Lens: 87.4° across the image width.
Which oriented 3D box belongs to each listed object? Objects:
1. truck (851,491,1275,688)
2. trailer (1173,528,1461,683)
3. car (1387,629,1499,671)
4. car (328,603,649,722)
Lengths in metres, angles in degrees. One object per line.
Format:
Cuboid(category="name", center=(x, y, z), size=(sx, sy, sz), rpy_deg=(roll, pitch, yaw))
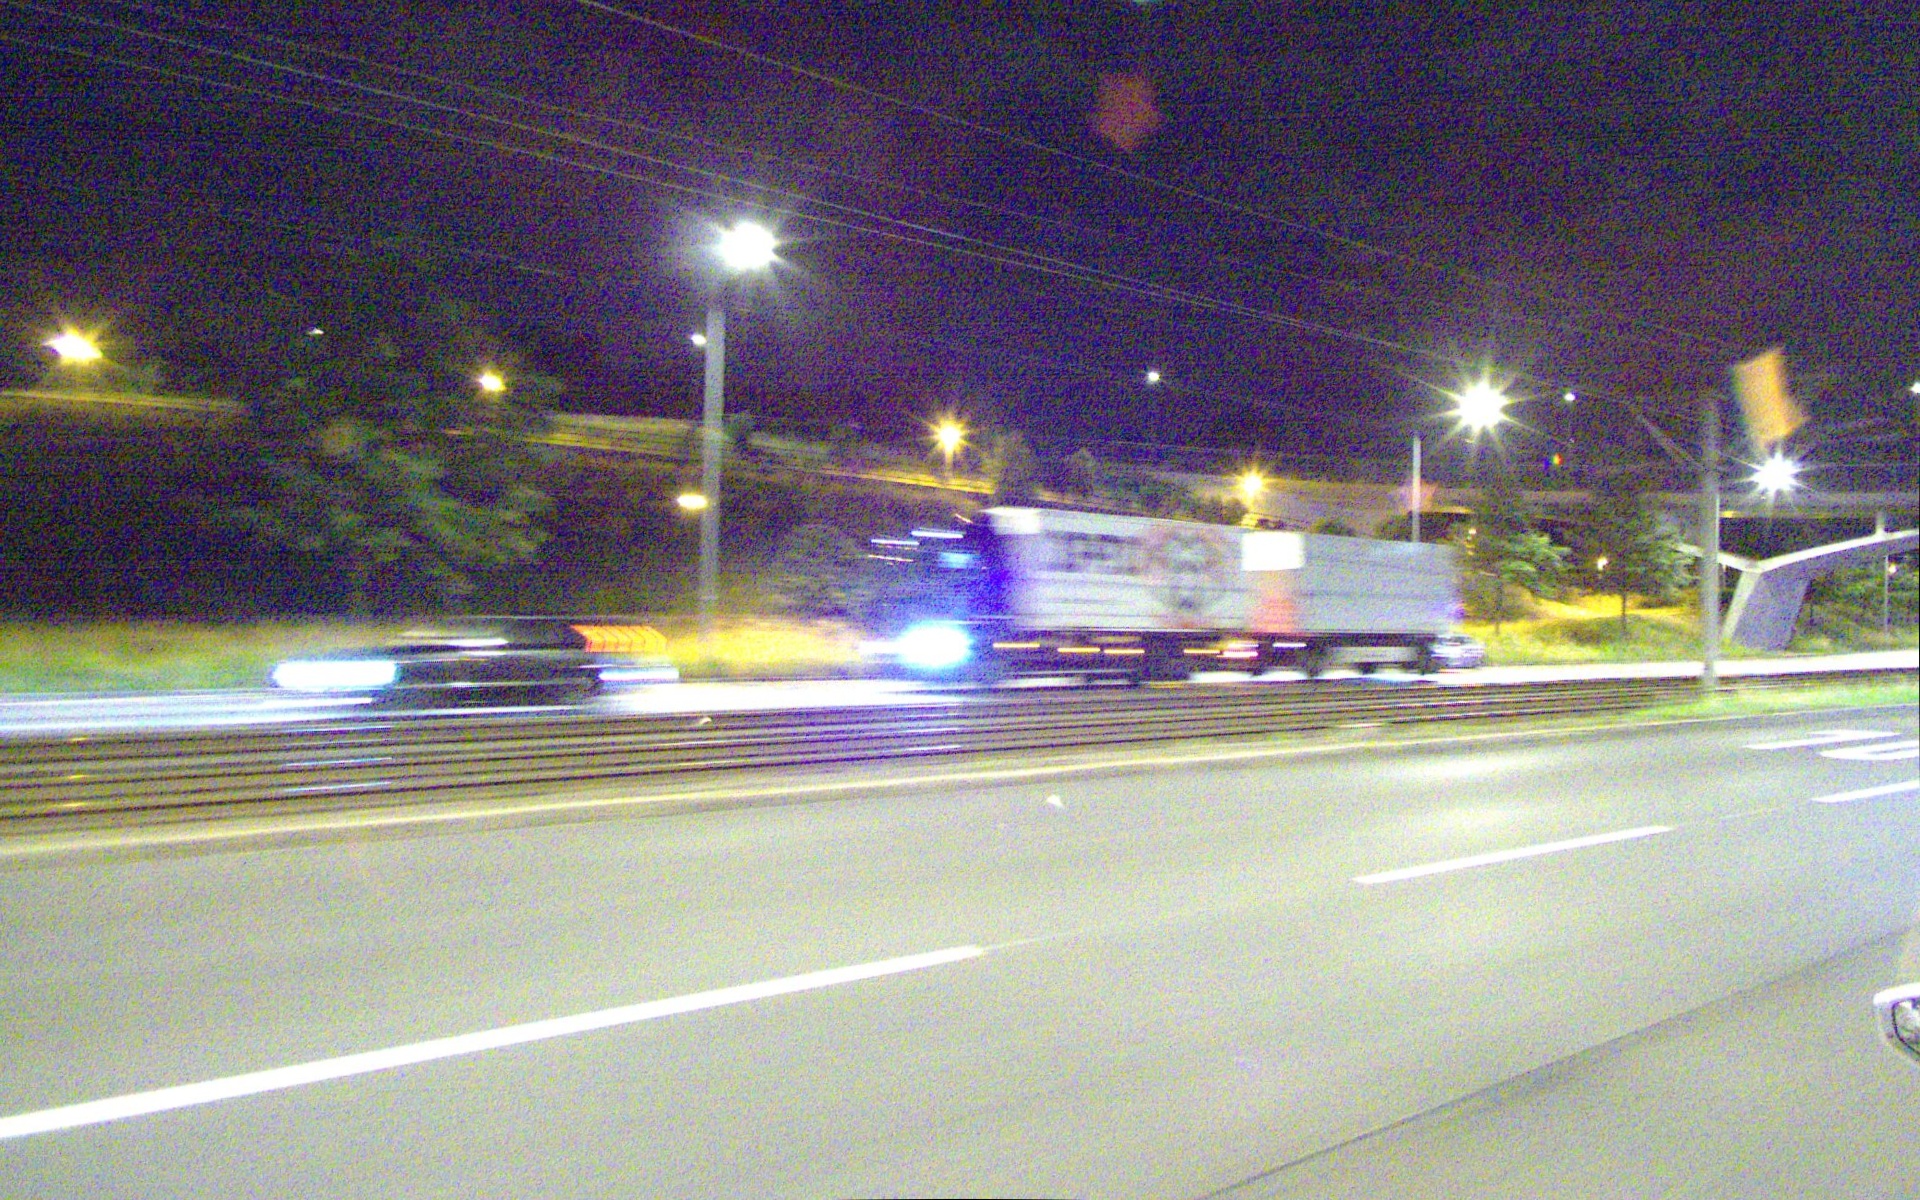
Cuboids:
Cuboid(category="truck", center=(2.804, -0.070, 24.784), size=(10.309, 4.007, 3.660), rpy_deg=(2, 0, -33))
Cuboid(category="trailer", center=(10.709, 0.248, 29.872), size=(8.303, 4.042, 3.675), rpy_deg=(2, 0, -32))
Cuboid(category="car", center=(18.535, 1.904, 38.511), size=(4.157, 1.500, 1.976), rpy_deg=(2, -3, -32))
Cuboid(category="car", center=(-6.870, 0.867, 14.757), size=(4.042, 1.519, 1.793), rpy_deg=(2, -1, -34))
